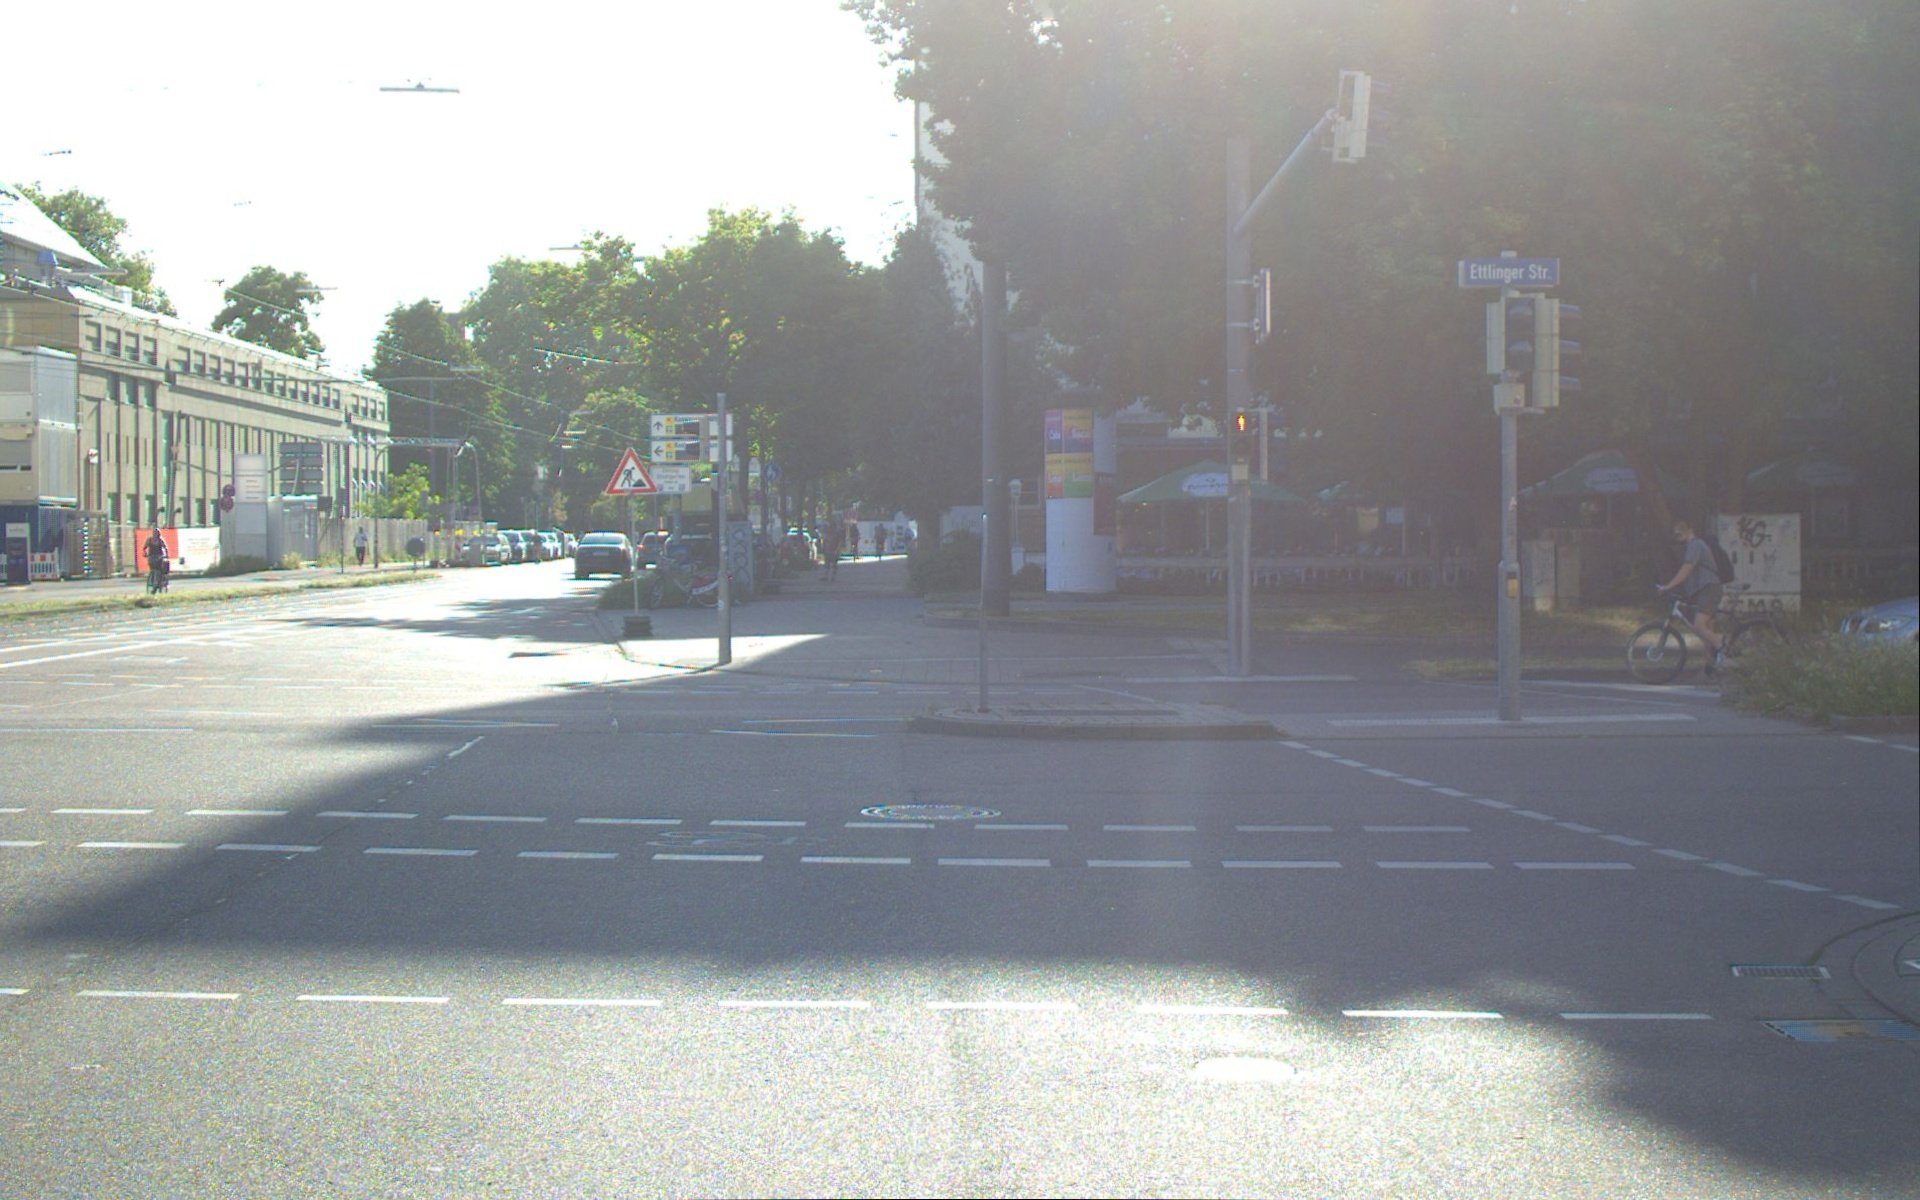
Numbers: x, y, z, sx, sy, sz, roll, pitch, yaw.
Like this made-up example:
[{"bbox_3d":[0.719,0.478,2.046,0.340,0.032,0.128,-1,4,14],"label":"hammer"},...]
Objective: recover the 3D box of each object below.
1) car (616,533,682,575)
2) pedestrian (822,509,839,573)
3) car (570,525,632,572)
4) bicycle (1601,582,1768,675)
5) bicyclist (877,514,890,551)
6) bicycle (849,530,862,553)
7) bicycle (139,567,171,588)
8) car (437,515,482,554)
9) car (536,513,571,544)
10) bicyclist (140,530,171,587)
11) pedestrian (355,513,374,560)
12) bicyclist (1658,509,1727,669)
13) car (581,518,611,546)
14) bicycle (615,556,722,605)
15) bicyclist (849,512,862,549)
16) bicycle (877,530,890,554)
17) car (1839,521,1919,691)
[{"bbox_3d":[-12.474,-1.872,138.221,1.892,1.560,4.807,3,1,3],"label":"car"},{"bbox_3d":[-3.682,-1.670,97.704,0.463,1.807,0.503,-1,1,-5],"label":"pedestrian"},{"bbox_3d":[-11.593,-1.669,111.298,1.660,1.450,4.432,1,1,-2],"label":"car"},{"bbox_3d":[7.650,0.300,36.329,1.667,0.960,0.533,0,1,5],"label":"bicycle"},{"bbox_3d":[-3.540,-3.120,159.172,0.569,1.685,0.700,0,1,-1],"label":"bicyclist"},{"bbox_3d":[-4.835,-2.705,158.980,0.575,1.073,1.831,0,1,-1],"label":"bicycle"},{"bbox_3d":[-19.522,-0.549,83.431,0.501,0.513,1.258,1,1,-1],"label":"bicycle"},{"bbox_3d":[-22.770,-2.967,156.441,1.692,1.712,4.248,1,1,-4],"label":"car"},{"bbox_3d":[-23.008,-4.033,194.687,1.692,1.712,4.248,1,1,-4],"label":"car"},{"bbox_3d":[-19.522,-1.007,83.435,0.596,1.372,0.638,1,0,-2],"label":"bicyclist"},{"bbox_3d":[-25.429,-2.708,146.765,0.674,2.007,0.751,1,0,-3],"label":"pedestrian"},{"bbox_3d":[7.740,-0.121,36.335,0.643,1.677,0.507,0,1,5],"label":"bicyclist"},{"bbox_3d":[-23.297,-4.351,220.226,1.692,1.712,4.248,1,1,-4],"label":"car"},{"bbox_3d":[-5.726,-0.383,67.477,2.018,0.888,0.650,-2,0,27],"label":"bicycle"},{"bbox_3d":[-4.843,-3.205,158.883,0.569,1.685,0.700,0,1,-1],"label":"bicyclist"},{"bbox_3d":[-3.536,-2.690,159.195,0.575,1.073,1.831,0,1,-1],"label":"bicycle"},{"bbox_3d":[10.757,0.022,33.407,3.993,1.605,1.650,-1,1,-1],"label":"car"}]
